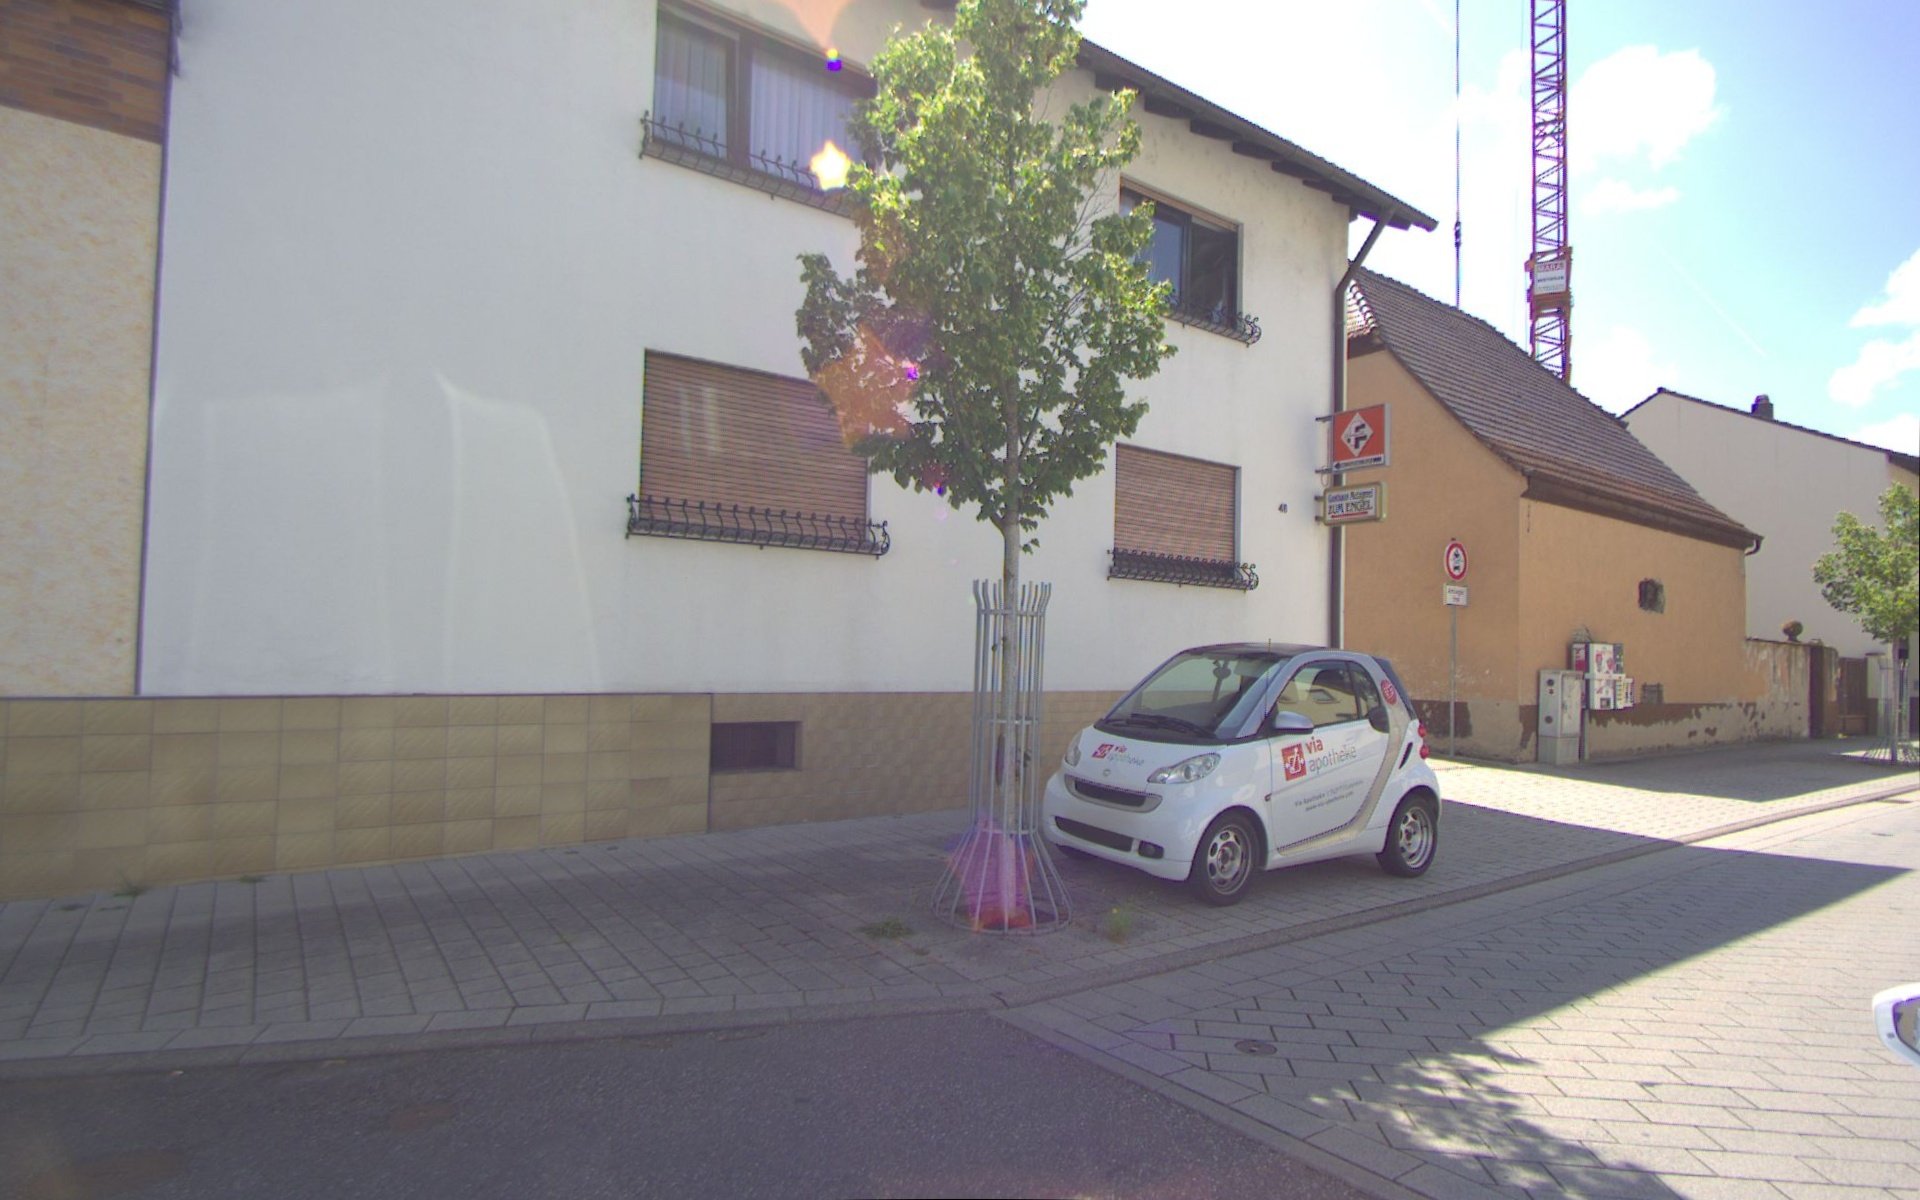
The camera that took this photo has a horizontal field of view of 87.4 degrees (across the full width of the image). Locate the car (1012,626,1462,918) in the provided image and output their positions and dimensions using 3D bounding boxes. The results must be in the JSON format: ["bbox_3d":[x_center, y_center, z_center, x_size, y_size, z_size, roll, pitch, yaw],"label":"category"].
[{"bbox_3d":[1.979,1.054,7.060,2.793,1.581,1.563,4,-1,-34],"label":"car"}]

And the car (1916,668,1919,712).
[{"bbox_3d":[38.806,3.539,37.544,1.767,1.680,4.191,4,-2,-35],"label":"car"}]
